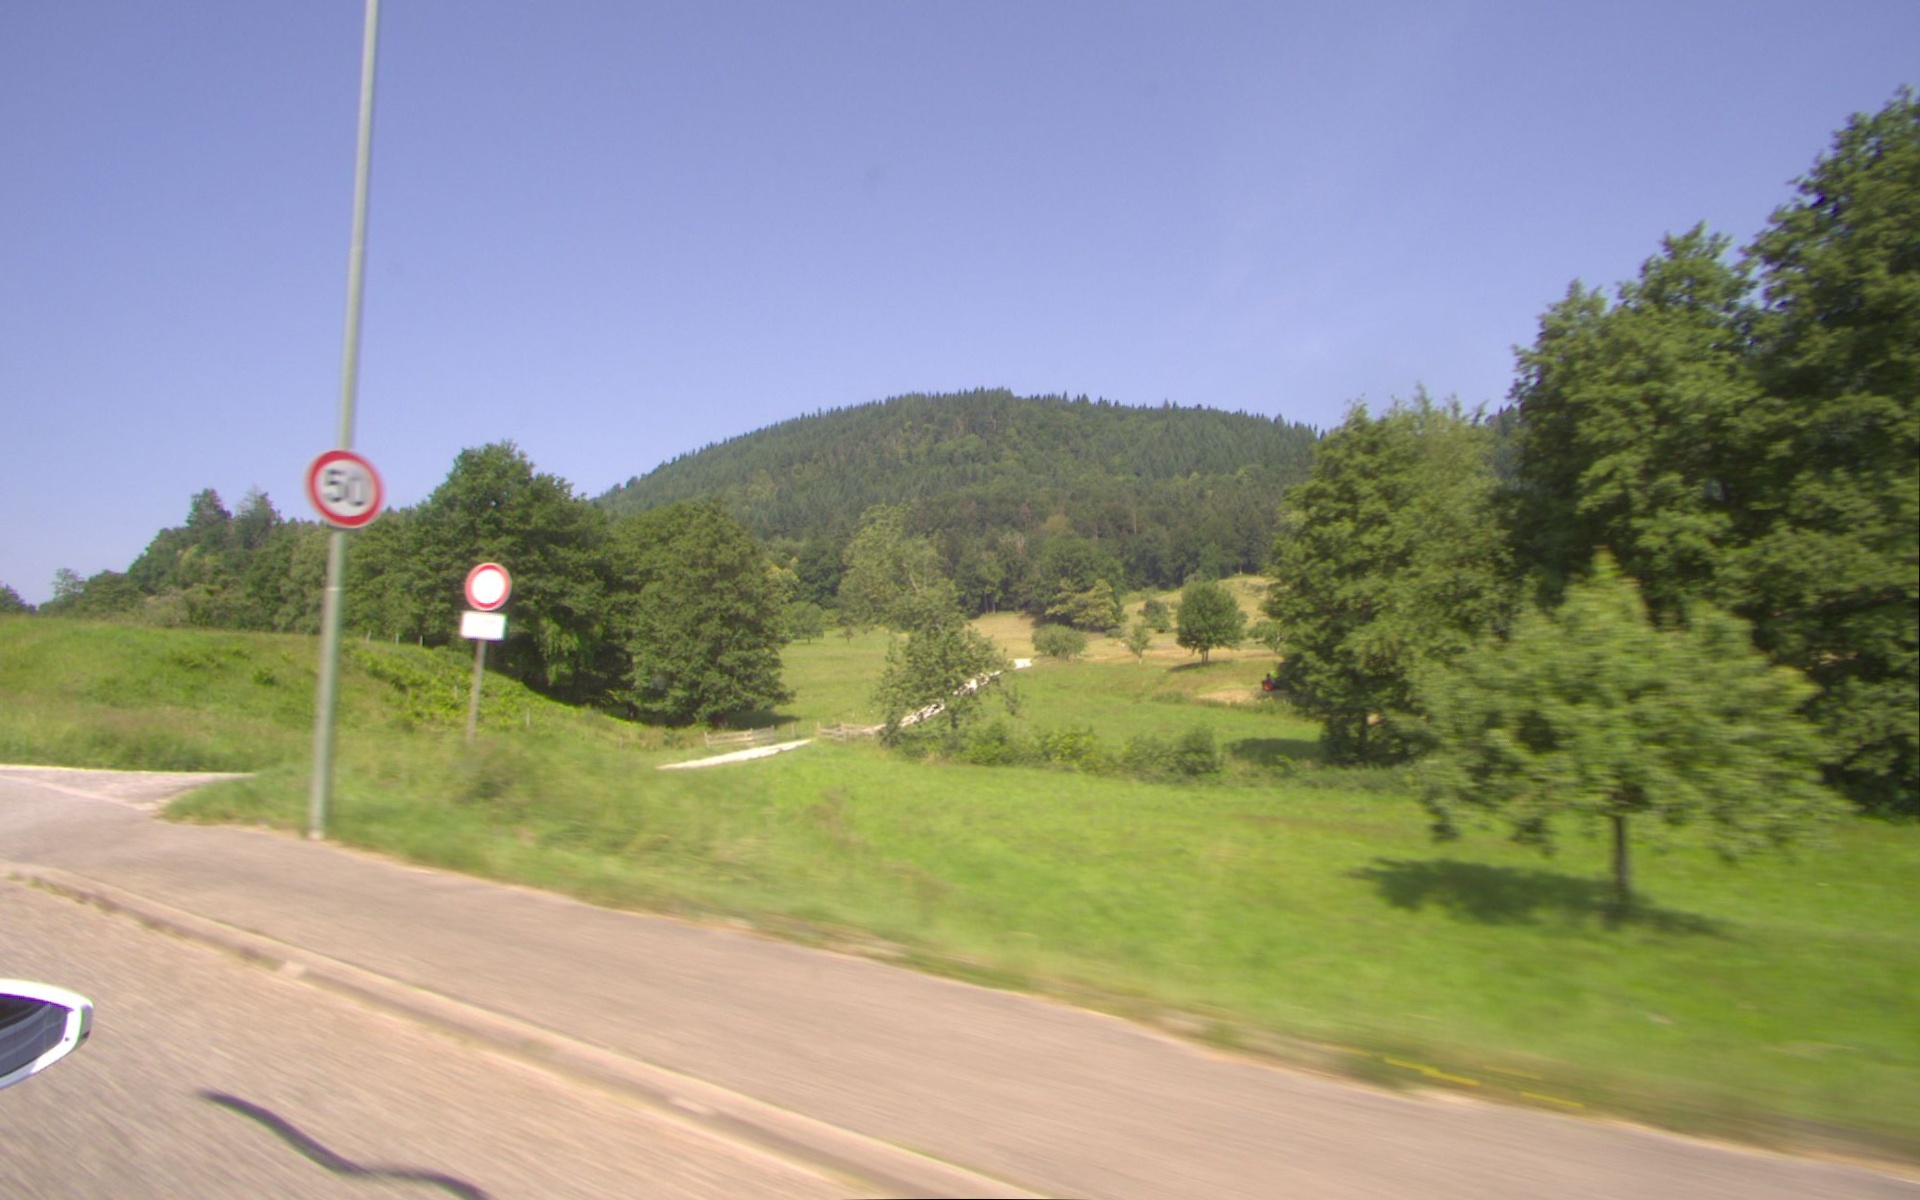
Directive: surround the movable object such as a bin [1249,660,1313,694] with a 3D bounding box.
[{"bbox_3d":[25.951,6.229,81.012,4.487,2.630,1.988,-3,-4,37],"label":"movable object such as a bin"}]
